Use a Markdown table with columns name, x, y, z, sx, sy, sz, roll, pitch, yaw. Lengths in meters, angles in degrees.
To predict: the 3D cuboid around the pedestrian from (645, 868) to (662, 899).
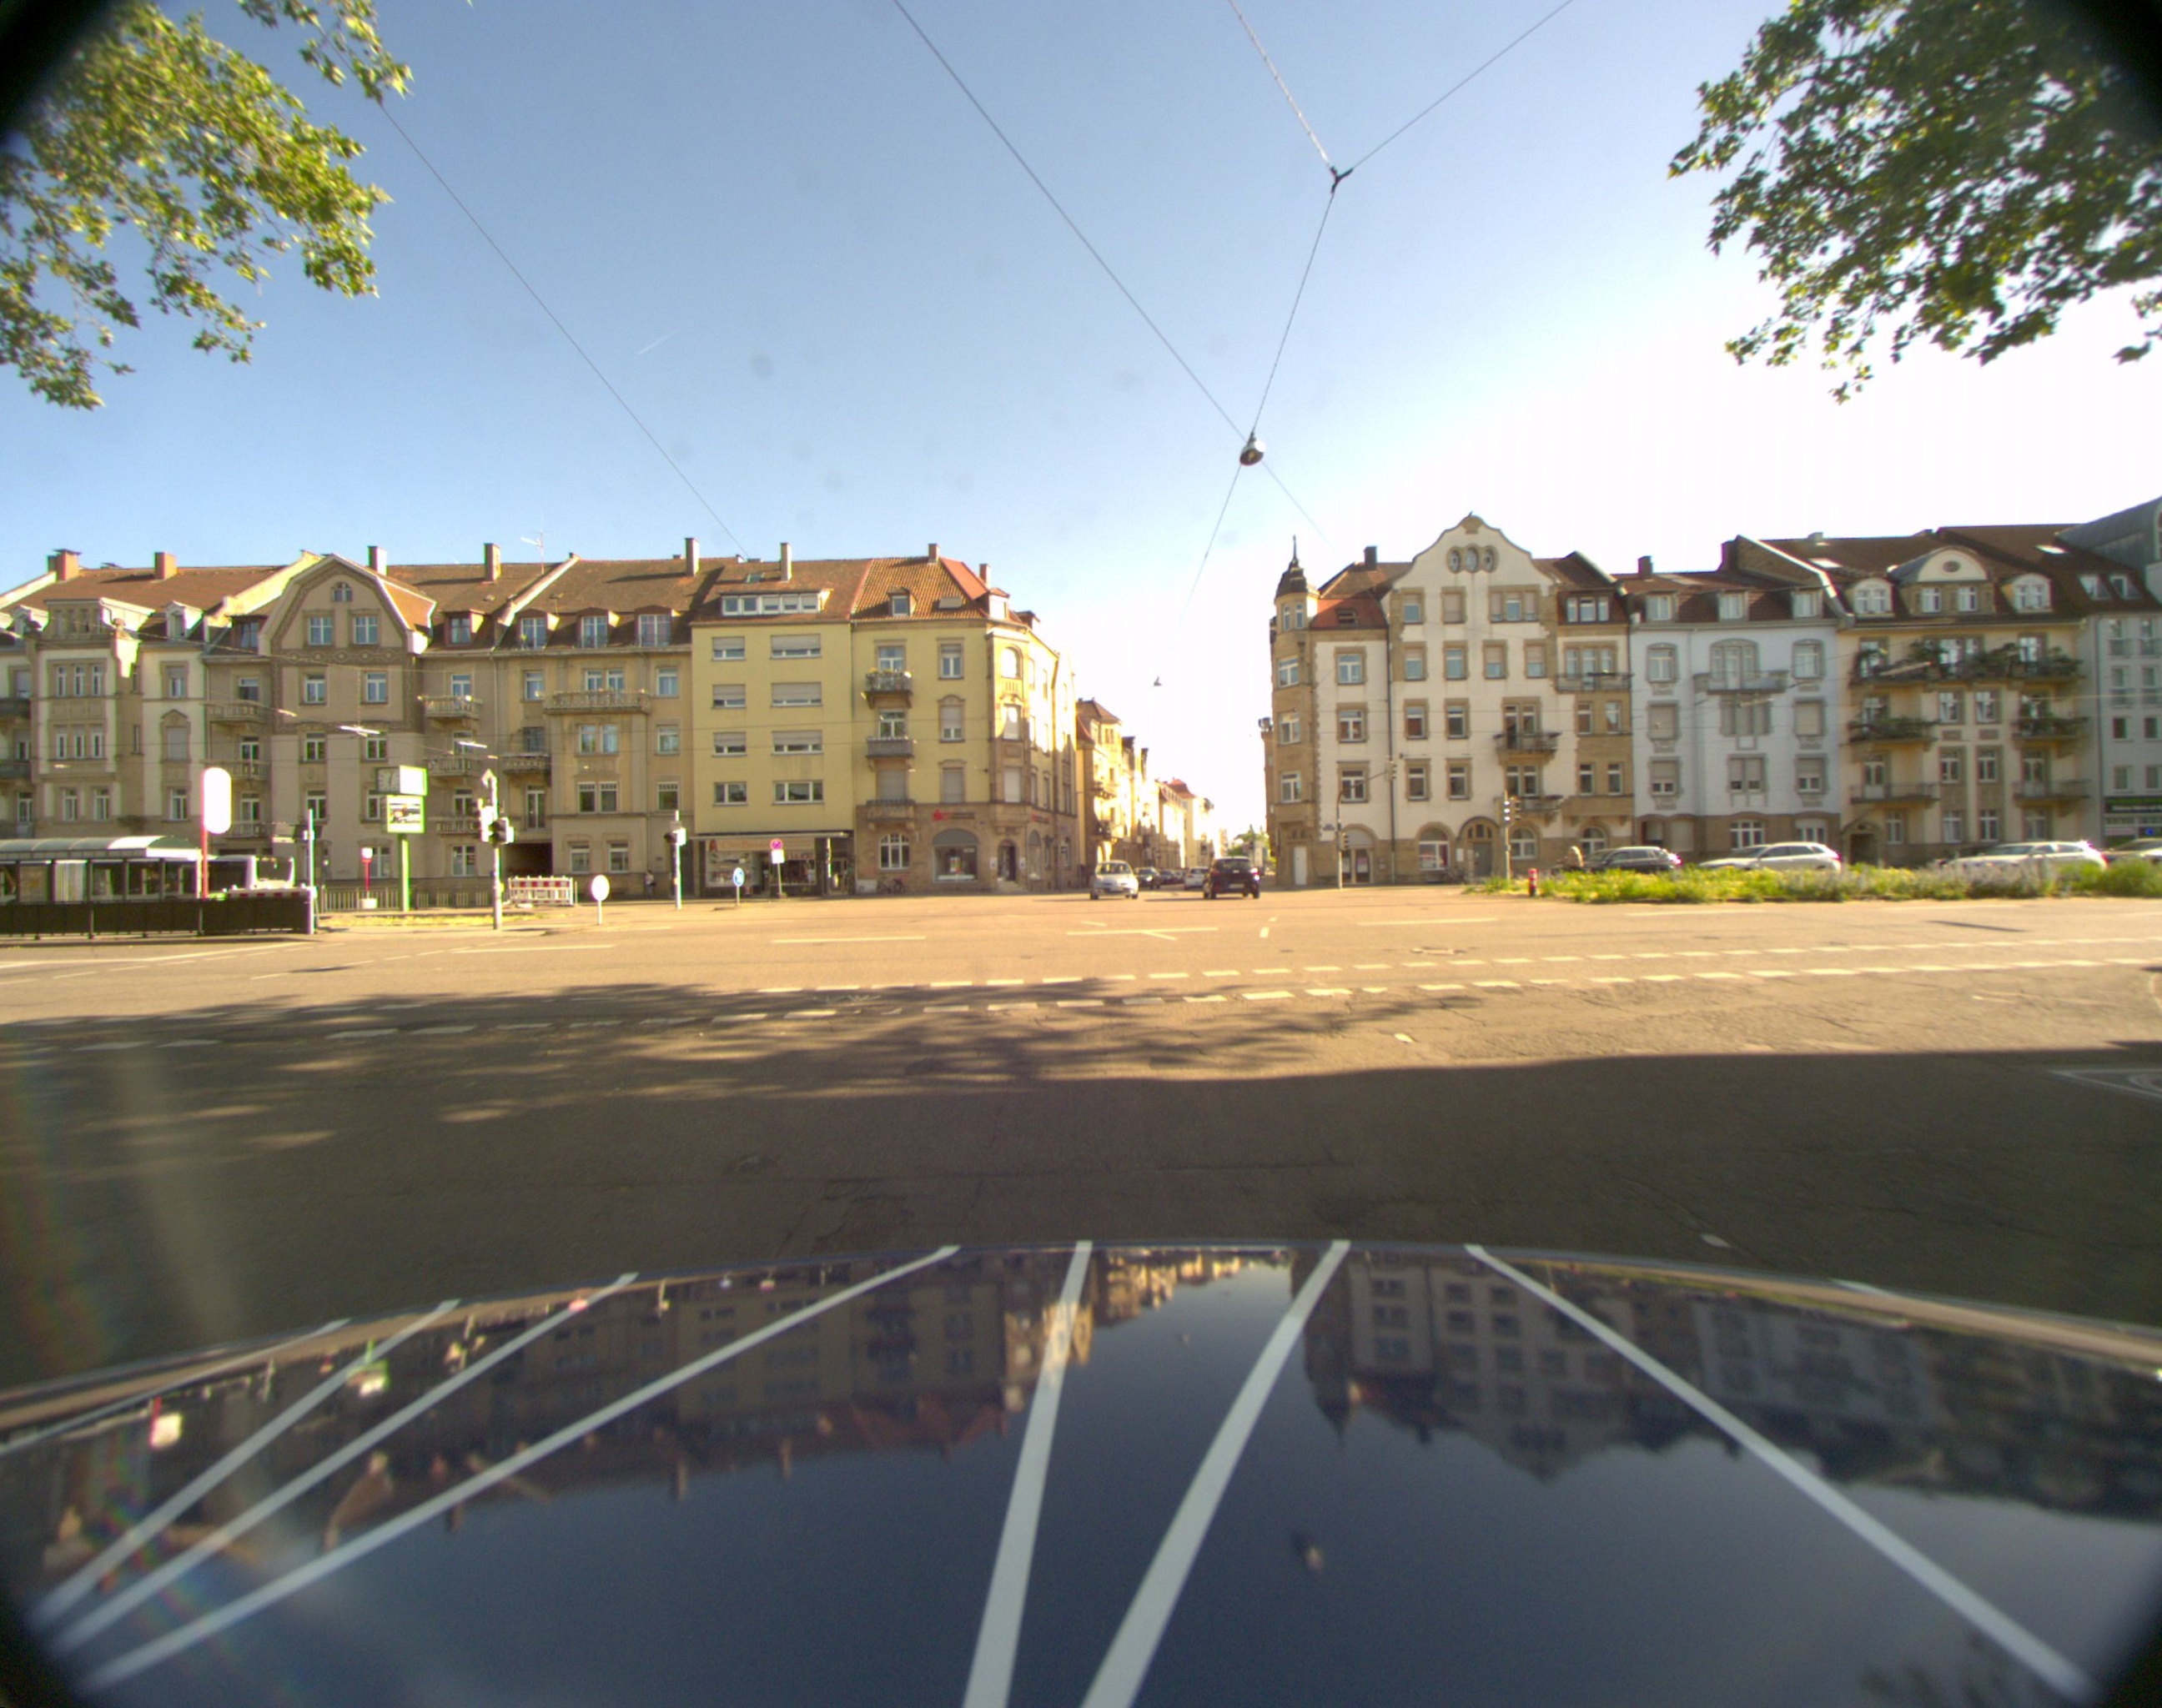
| name | x | y | z | sx | sy | sz | roll | pitch | yaw |
| --- | --- | --- | --- | --- | --- | --- | --- | --- | --- |
| pedestrian | -24.802 | 1.695 | 44.052 | 0.521 | 1.792 | 0.709 | -1 | -1 | 5 |

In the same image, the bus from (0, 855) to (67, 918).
| name | x | y | z | sx | sy | sz | roll | pitch | yaw |
| --- | --- | --- | --- | --- | --- | --- | --- | --- | --- |
| bus | -57.152 | 1.669 | 36.524 | 10.867 | 2.998 | 3.093 | -1 | -2 | -10 |

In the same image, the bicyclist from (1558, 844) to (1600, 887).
| name | x | y | z | sx | sy | sz | roll | pitch | yaw |
| --- | --- | --- | --- | --- | --- | --- | --- | --- | --- |
| bicyclist | 18.316 | 0.419 | 27.955 | 1.073 | 1.533 | 0.687 | -1 | 0 | 2 |

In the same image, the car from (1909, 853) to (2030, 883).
| name | x | y | z | sx | sy | sz | roll | pitch | yaw |
| --- | --- | --- | --- | --- | --- | --- | --- | --- | --- |
| car | 44.676 | 0.714 | 38.282 | 3.893 | 1.381 | 1.767 | -1 | -1 | 2 |

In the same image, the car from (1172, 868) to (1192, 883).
| name | x | y | z | sx | sy | sz | roll | pitch | yaw |
| --- | --- | --- | --- | --- | --- | --- | --- | --- | --- |
| car | 11.883 | 2.559 | 89.497 | 1.831 | 1.586 | 3.825 | -4 | -2 | 13 |

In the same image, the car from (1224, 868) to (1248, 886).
| name | x | y | z | sx | sy | sz | roll | pitch | yaw |
| --- | --- | --- | --- | --- | --- | --- | --- | --- | --- |
| car | 12.853 | 1.876 | 62.866 | 1.554 | 1.403 | 3.576 | 1 | -1 | 17 |

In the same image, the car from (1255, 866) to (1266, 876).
| name | x | y | z | sx | sy | sz | roll | pitch | yaw |
| --- | --- | --- | --- | --- | --- | --- | --- | --- | --- |
| car | 34.716 | 3.255 | 146.516 | 1.916 | 1.614 | 4.351 | -5 | -2 | 14 |

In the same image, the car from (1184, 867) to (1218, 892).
| name | x | y | z | sx | sy | sz | roll | pitch | yaw |
| --- | --- | --- | --- | --- | --- | --- | --- | --- | --- |
| car | 7.332 | 1.557 | 46.741 | 1.810 | 1.449 | 4.002 | -1 | -1 | 5 |

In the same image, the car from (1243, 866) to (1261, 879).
| name | x | y | z | sx | sy | sz | roll | pitch | yaw |
| --- | --- | --- | --- | --- | --- | --- | --- | --- | --- |
| car | 23.129 | 2.459 | 102.685 | 1.915 | 1.508 | 4.352 | -5 | -2 | 16 |

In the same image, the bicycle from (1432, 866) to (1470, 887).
| name | x | y | z | sx | sy | sz | roll | pitch | yaw |
| --- | --- | --- | --- | --- | --- | --- | --- | --- | --- |
| bicycle | 20.999 | 1.261 | 43.130 | 1.809 | 1.127 | 0.610 | -1 | -1 | 1 |

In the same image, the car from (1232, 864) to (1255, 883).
| name | x | y | z | sx | sy | sz | roll | pitch | yaw |
| --- | --- | --- | --- | --- | --- | --- | --- | --- | --- |
| car | 16.587 | 1.973 | 77.398 | 1.915 | 1.649 | 4.352 | -5 | -2 | 16 |

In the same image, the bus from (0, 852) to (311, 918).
| name | x | y | z | sx | sy | sz | roll | pitch | yaw |
| --- | --- | --- | --- | --- | --- | --- | --- | --- | --- |
| bus | -46.496 | 1.528 | 38.467 | 10.685 | 3.015 | 3.131 | -1 | -2 | -10 |

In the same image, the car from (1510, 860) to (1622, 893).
| name | x | y | z | sx | sy | sz | roll | pitch | yaw |
| --- | --- | --- | --- | --- | --- | --- | --- | --- | --- |
| car | 21.937 | 1.032 | 34.500 | 3.893 | 1.381 | 1.767 | -1 | -1 | 2 |

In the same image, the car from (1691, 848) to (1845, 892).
| name | x | y | z | sx | sy | sz | roll | pitch | yaw |
| --- | --- | --- | --- | --- | --- | --- | --- | --- | --- |
| car | 25.260 | 0.589 | 28.044 | 4.016 | 1.520 | 1.767 | -1 | -1 | 2 |

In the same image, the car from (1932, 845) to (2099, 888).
| name | x | y | z | sx | sy | sz | roll | pitch | yaw |
| --- | --- | --- | --- | --- | --- | --- | --- | --- | --- |
| car | 33.914 | 0.462 | 27.651 | 3.893 | 1.520 | 1.766 | 0 | -1 | 0 |

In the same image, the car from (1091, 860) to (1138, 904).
| name | x | y | z | sx | sy | sz | roll | pitch | yaw |
| --- | --- | --- | --- | --- | --- | --- | --- | --- | --- |
| car | 1.248 | 1.057 | 29.609 | 1.652 | 1.559 | 3.616 | -1 | -1 | 0 |

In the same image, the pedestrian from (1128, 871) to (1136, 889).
| name | x | y | z | sx | sy | sz | roll | pitch | yaw |
| --- | --- | --- | --- | --- | --- | --- | --- | --- | --- |
| pedestrian | 4.848 | 2.436 | 72.461 | 0.577 | 1.712 | 0.698 | 0 | 0 | 15 |

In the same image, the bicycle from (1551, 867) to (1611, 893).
| name | x | y | z | sx | sy | sz | roll | pitch | yaw |
| --- | --- | --- | --- | --- | --- | --- | --- | --- | --- |
| bicycle | 18.371 | 0.962 | 27.954 | 1.636 | 0.919 | 0.795 | -1 | -1 | 2 |

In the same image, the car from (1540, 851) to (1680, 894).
| name | x | y | z | sx | sy | sz | roll | pitch | yaw |
| --- | --- | --- | --- | --- | --- | --- | --- | --- | --- |
| car | 21.496 | 0.761 | 31.031 | 4.236 | 1.634 | 2.001 | -1 | -2 | 2 |

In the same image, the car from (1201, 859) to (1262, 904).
| name | x | y | z | sx | sy | sz | roll | pitch | yaw |
| --- | --- | --- | --- | --- | --- | --- | --- | --- | --- |
| car | 5.349 | 0.935 | 27.342 | 1.664 | 1.455 | 3.810 | -1 | 0 | 4 |

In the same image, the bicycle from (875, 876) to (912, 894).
| name | x | y | z | sx | sy | sz | roll | pitch | yaw |
| --- | --- | --- | --- | --- | --- | --- | --- | --- | --- |
| bicycle | -10.902 | 1.816 | 44.187 | 1.951 | 0.970 | 0.516 | -1 | 2 | 2 |

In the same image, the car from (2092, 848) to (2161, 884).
| name | x | y | z | sx | sy | sz | roll | pitch | yaw |
| --- | --- | --- | --- | --- | --- | --- | --- | --- | --- |
| car | 42.821 | 0.449 | 29.981 | 3.699 | 1.368 | 1.593 | -1 | 0 | 0 |

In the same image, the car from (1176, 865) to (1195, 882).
| name | x | y | z | sx | sy | sz | roll | pitch | yaw |
| --- | --- | --- | --- | --- | --- | --- | --- | --- | --- |
| car | 12.931 | 2.407 | 93.856 | 1.831 | 2.022 | 3.825 | -4 | -2 | 15 |
